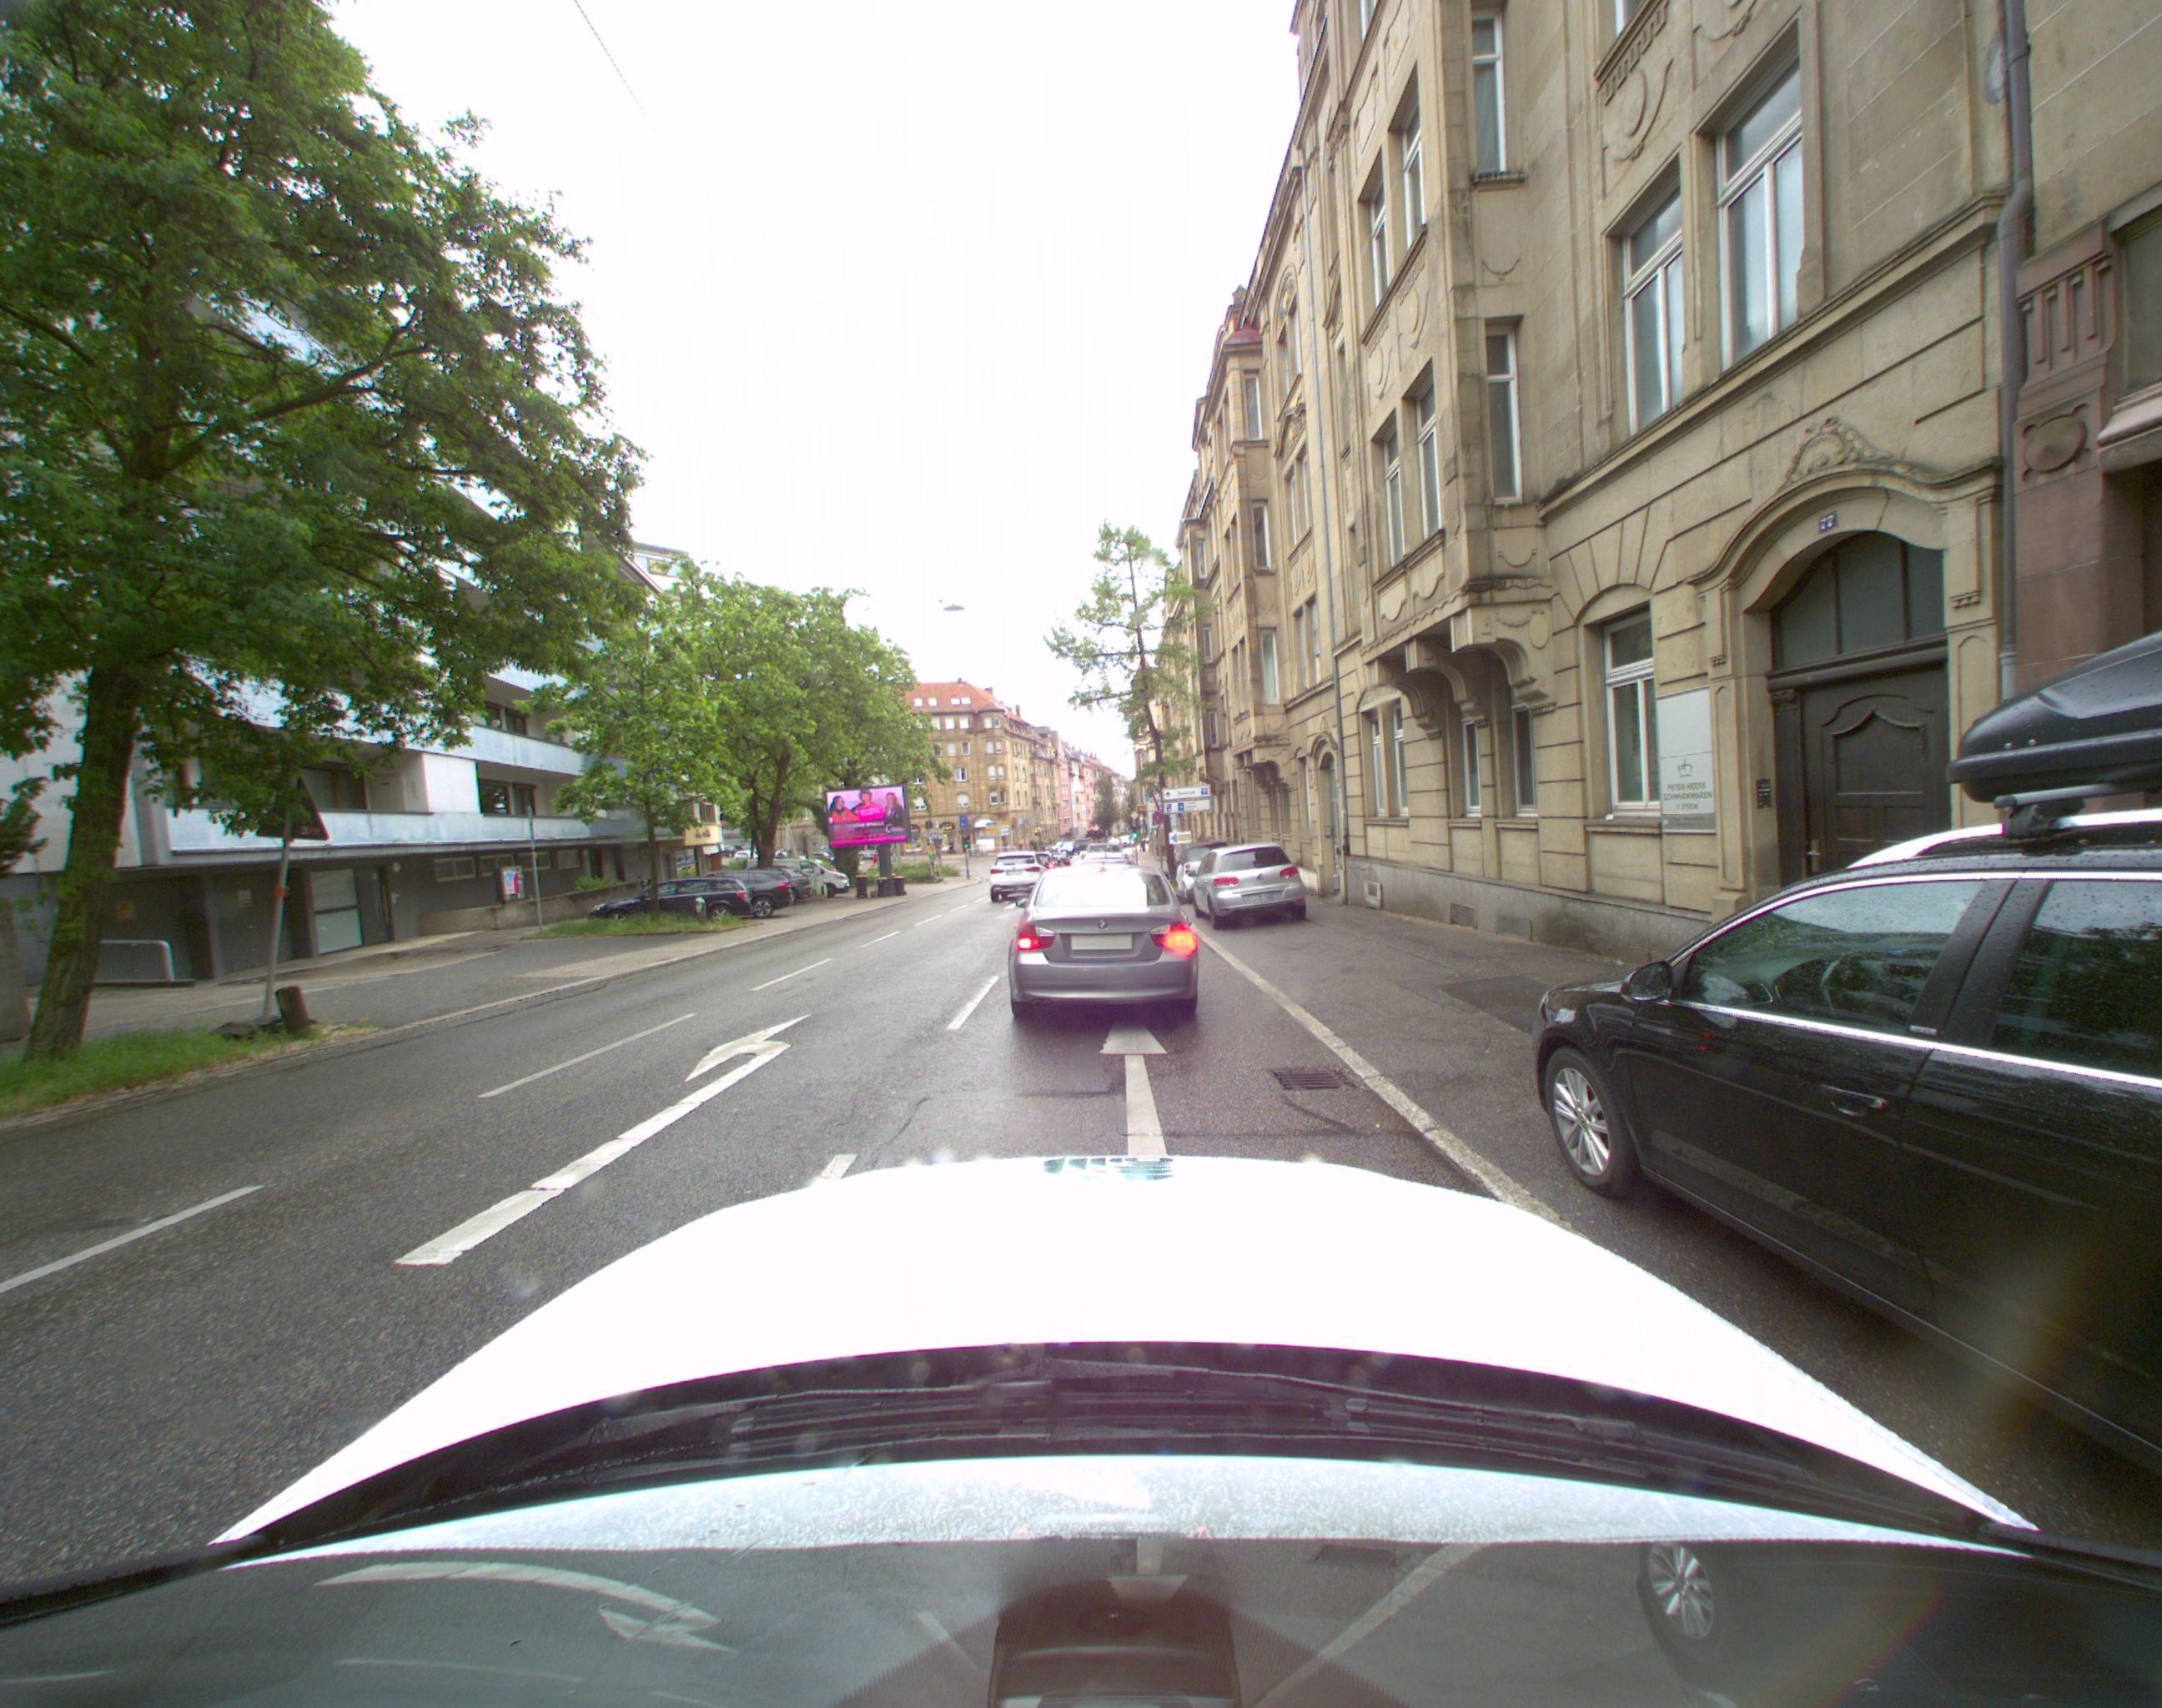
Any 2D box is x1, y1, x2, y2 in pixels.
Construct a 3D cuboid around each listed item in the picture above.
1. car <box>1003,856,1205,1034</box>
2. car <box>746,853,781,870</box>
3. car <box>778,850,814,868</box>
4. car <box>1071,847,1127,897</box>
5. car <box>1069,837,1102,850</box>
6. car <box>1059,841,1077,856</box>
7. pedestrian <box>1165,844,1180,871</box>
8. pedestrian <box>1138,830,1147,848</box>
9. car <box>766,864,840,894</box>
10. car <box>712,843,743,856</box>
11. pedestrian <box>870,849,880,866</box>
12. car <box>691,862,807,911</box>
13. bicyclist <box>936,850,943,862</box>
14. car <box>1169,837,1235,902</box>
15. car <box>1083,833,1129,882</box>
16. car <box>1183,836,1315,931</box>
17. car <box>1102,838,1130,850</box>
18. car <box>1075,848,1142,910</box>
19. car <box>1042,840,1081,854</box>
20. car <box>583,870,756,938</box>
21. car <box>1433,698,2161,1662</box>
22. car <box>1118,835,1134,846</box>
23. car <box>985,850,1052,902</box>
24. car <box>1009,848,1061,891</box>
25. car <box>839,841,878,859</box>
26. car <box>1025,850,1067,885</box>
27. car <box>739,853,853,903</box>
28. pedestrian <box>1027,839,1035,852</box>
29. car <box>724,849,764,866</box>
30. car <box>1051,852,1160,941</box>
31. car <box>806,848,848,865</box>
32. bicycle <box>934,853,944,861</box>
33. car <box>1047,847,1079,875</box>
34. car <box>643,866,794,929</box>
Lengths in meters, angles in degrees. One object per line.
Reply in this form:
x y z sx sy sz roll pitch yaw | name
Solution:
0.280 0.759 8.533 1.617 1.383 3.618 -2 0 3 | car
-41.395 0.950 106.173 4.238 2.101 2.013 0 2 30 | car
-36.317 0.634 103.678 4.238 2.101 2.013 0 2 30 | car
0.689 0.563 28.569 1.752 1.567 4.003 -2 0 3 | car
0.684 -1.646 129.995 5.158 2.014 2.699 0 -1 1 | car
-1.427 -0.604 89.985 1.709 1.450 3.743 -3 0 1 | car
5.373 0.188 47.833 0.629 1.508 0.693 -7 0 1 | pedestrian
6.539 -1.564 86.514 0.740 1.910 0.659 -3 0 1 | pedestrian
-16.209 1.442 47.592 3.985 1.450 1.758 -3 0 -19 | car
-47.301 -0.585 108.876 3.949 1.689 1.738 -1 -1 29 | car
-20.391 0.356 80.658 0.532 1.577 0.722 -4 0 15 | pedestrian
-13.945 1.341 34.473 4.370 1.784 1.927 -3 0 -19 | car
-15.861 0.222 91.164 0.565 1.273 0.692 -1 -1 14 | bicyclist
3.329 0.395 22.768 1.295 1.543 2.977 -7 0 1 | car
1.164 0.178 37.875 1.986 2.106 4.002 -2 0 2 | car
3.209 0.511 16.354 1.753 1.451 4.001 -7 0 1 | car
4.775 -1.316 111.189 1.974 1.578 4.025 -1 -1 34 | car
0.772 0.599 21.786 1.588 1.464 4.003 -1 0 3 | car
-2.369 -0.832 100.642 1.975 1.578 4.682 -1 -1 44 | car
-12.232 1.438 24.567 4.373 1.574 1.930 -4 0 -21 | car
2.661 0.459 2.037 1.753 1.651 4.101 -7 0 2 | car
6.694 -2.015 120.350 1.983 1.578 4.008 0 -1 7 | car
-2.113 0.702 28.477 1.861 1.625 4.001 -2 0 1 | car
-1.906 0.619 35.004 1.752 1.707 4.003 -2 0 3 | car
-26.602 -0.477 97.511 4.238 2.101 2.013 0 2 30 | car
-1.781 0.659 42.793 1.752 1.707 4.003 -2 0 3 | car
-13.936 1.147 39.990 5.076 2.105 1.979 -3 0 -19 | car
-6.225 -1.089 101.426 0.727 1.577 0.530 -3 0 10 | pedestrian
-38.961 0.444 94.186 4.195 1.726 2.013 -2 3 31 | car
0.505 0.706 15.461 1.752 1.383 4.003 -2 0 3 | car
-27.214 0.301 87.244 4.194 1.726 2.013 -1 2 32 | car
-15.876 0.334 91.187 0.569 0.858 1.528 -1 -1 14 | bicycle
-1.176 0.442 53.831 1.752 1.707 4.003 -2 0 3 | car
-12.007 1.400 27.301 4.382 1.672 1.842 -4 0 -21 | car
